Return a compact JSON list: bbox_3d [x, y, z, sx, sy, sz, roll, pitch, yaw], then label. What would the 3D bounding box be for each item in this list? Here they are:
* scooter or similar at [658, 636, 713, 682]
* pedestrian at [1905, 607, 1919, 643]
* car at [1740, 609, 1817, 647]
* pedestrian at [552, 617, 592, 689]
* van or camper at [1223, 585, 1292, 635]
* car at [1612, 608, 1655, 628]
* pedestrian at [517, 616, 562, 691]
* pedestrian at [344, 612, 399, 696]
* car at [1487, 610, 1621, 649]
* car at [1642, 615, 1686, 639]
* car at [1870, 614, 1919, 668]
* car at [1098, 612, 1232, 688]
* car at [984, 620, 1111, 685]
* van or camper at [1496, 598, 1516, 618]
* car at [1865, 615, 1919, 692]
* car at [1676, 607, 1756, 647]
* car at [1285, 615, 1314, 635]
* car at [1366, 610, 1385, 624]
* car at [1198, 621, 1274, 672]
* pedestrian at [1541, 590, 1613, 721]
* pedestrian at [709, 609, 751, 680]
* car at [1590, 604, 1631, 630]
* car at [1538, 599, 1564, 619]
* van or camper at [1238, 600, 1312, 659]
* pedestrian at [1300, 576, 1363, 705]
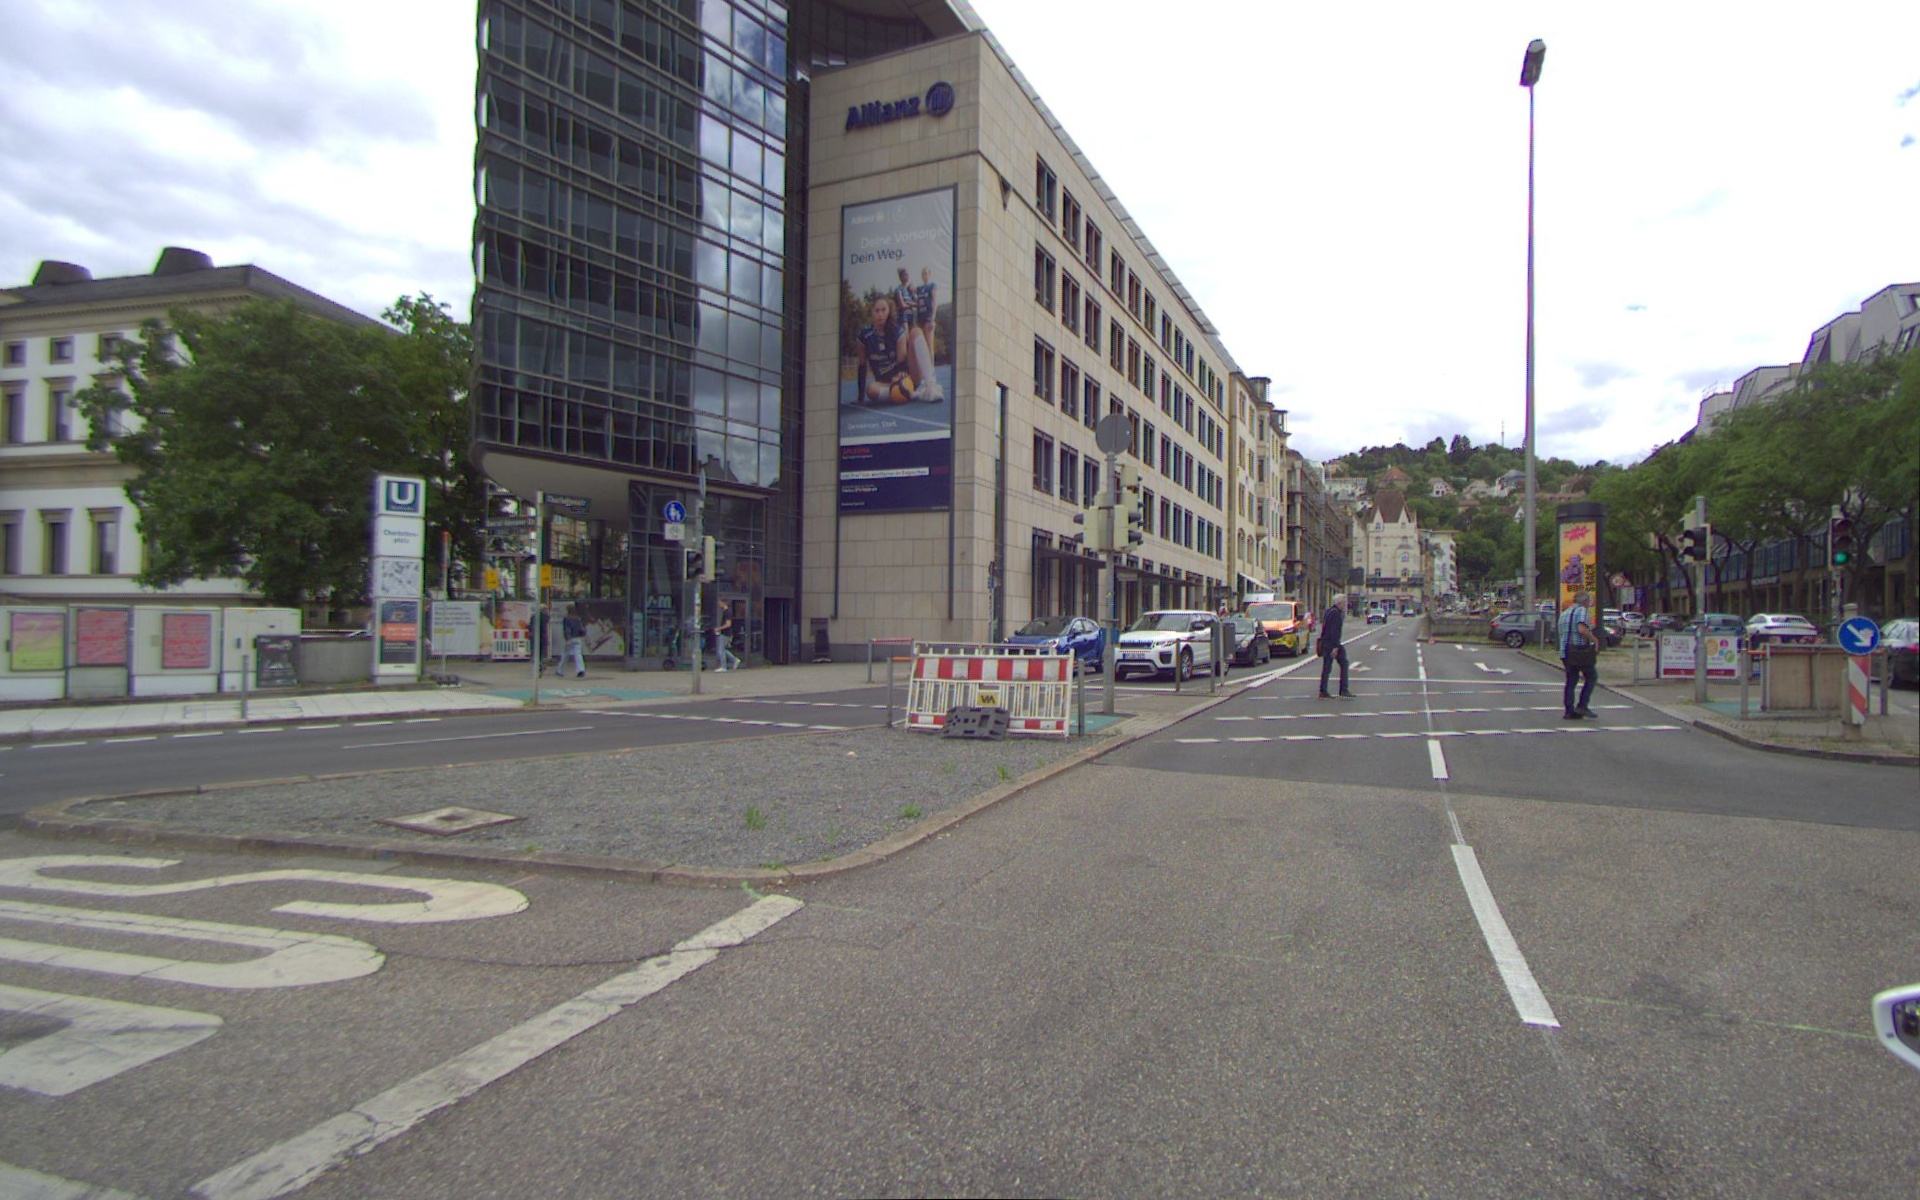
[{"bbox_3d":[-7.422,1.595,27.214,1.360,1.224,0.533,0,-1,-6],"label":"scooter or similar"},{"bbox_3d":[47.693,1.256,50.008,0.586,1.777,0.941,-1,-1,20],"label":"pedestrian"},{"bbox_3d":[34.458,1.171,42.391,1.805,1.537,3.761,-1,-1,28],"label":"car"},{"bbox_3d":[-9.368,1.264,24.264,0.632,1.723,0.631,-1,-1,29],"label":"pedestrian"},{"bbox_3d":[17.441,0.583,58.598,2.955,2.762,6.240,0,-1,25],"label":"van or camper"},{"bbox_3d":[49.802,1.329,74.357,2.024,1.437,4.329,-2,-1,26],"label":"car"},{"bbox_3d":[-9.859,1.248,23.547,0.756,1.723,0.631,-1,-1,30],"label":"pedestrian"},{"bbox_3d":[-12.073,1.114,20.611,0.781,1.652,0.598,4,1,-42],"label":"pedestrian"},{"bbox_3d":[23.441,1.135,39.698,4.488,1.478,1.876,0,-1,34],"label":"car"},{"bbox_3d":[42.528,1.615,60.779,1.805,1.381,3.760,-1,-1,30],"label":"car"},{"bbox_3d":[29.036,1.203,30.131,1.807,1.451,4.137,1,1,31],"label":"car"},{"bbox_3d":[4.962,1.116,23.864,1.710,1.620,4.308,-1,-1,32],"label":"car"},{"bbox_3d":[2.367,1.294,26.246,1.963,1.545,4.087,-1,-1,26],"label":"car"},{"bbox_3d":[91.951,1.392,169.354,2.586,3.221,5.798,0,0,25],"label":"van or camper"},{"bbox_3d":[20.585,1.091,21.138,1.809,1.414,4.133,1,1,36],"label":"car"},{"bbox_3d":[30.616,1.086,40.772,1.803,1.537,3.764,-1,-1,25],"label":"car"},{"bbox_3d":[25.259,1.867,74.683,1.759,1.424,3.581,0,-1,23],"label":"car"},{"bbox_3d":[45.723,1.892,110.620,1.887,1.547,4.541,0,-1,22],"label":"car"},{"bbox_3d":[8.329,1.354,30.135,1.532,1.397,3.629,-2,-1,26],"label":"car"},{"bbox_3d":[8.816,0.788,14.371,0.704,1.814,0.634,-4,-1,25],"label":"pedestrian"},{"bbox_3d":[-6.023,1.160,26.337,0.914,1.834,0.697,0,-1,0],"label":"pedestrian"},{"bbox_3d":[40.466,1.067,62.563,1.805,1.587,3.761,-1,-1,28],"label":"car"},{"bbox_3d":[57.456,0.871,97.652,1.804,1.899,4.865,-1,-1,26],"label":"car"},{"bbox_3d":[11.423,1.031,36.173,1.883,1.947,5.079,-2,-2,25],"label":"van or camper"},{"bbox_3d":[6.480,0.696,17.565,0.861,2.201,0.763,0,-1,7],"label":"pedestrian"}]
